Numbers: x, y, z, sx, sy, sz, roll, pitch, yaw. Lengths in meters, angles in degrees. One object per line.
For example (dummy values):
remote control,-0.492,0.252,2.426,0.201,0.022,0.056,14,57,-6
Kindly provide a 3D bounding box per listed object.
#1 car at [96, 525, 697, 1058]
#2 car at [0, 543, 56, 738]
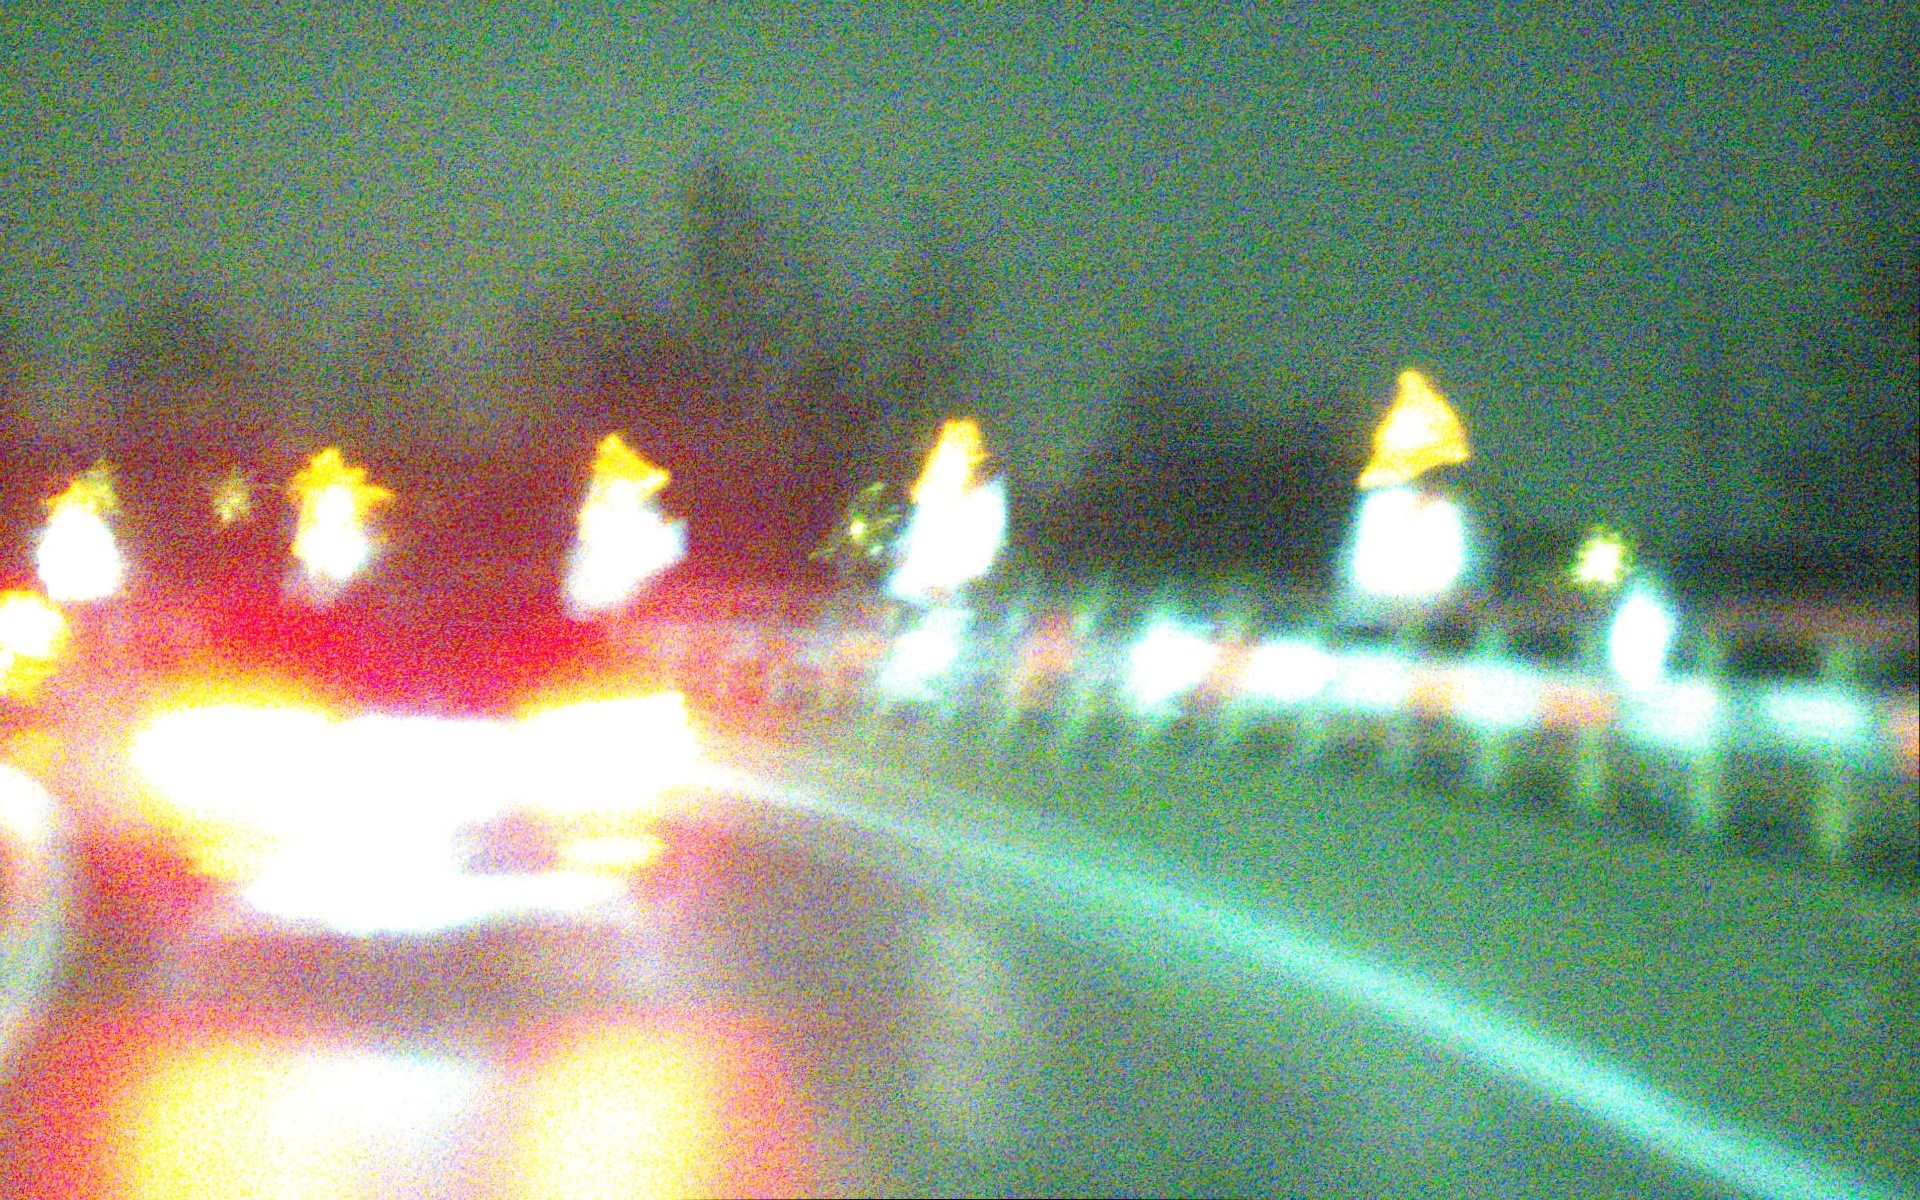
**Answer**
car,-2.165,0.568,12.918,1.860,1.641,4.070,-1,1,-11
car,-9.811,0.323,32.381,1.895,1.714,4.047,1,1,-23
